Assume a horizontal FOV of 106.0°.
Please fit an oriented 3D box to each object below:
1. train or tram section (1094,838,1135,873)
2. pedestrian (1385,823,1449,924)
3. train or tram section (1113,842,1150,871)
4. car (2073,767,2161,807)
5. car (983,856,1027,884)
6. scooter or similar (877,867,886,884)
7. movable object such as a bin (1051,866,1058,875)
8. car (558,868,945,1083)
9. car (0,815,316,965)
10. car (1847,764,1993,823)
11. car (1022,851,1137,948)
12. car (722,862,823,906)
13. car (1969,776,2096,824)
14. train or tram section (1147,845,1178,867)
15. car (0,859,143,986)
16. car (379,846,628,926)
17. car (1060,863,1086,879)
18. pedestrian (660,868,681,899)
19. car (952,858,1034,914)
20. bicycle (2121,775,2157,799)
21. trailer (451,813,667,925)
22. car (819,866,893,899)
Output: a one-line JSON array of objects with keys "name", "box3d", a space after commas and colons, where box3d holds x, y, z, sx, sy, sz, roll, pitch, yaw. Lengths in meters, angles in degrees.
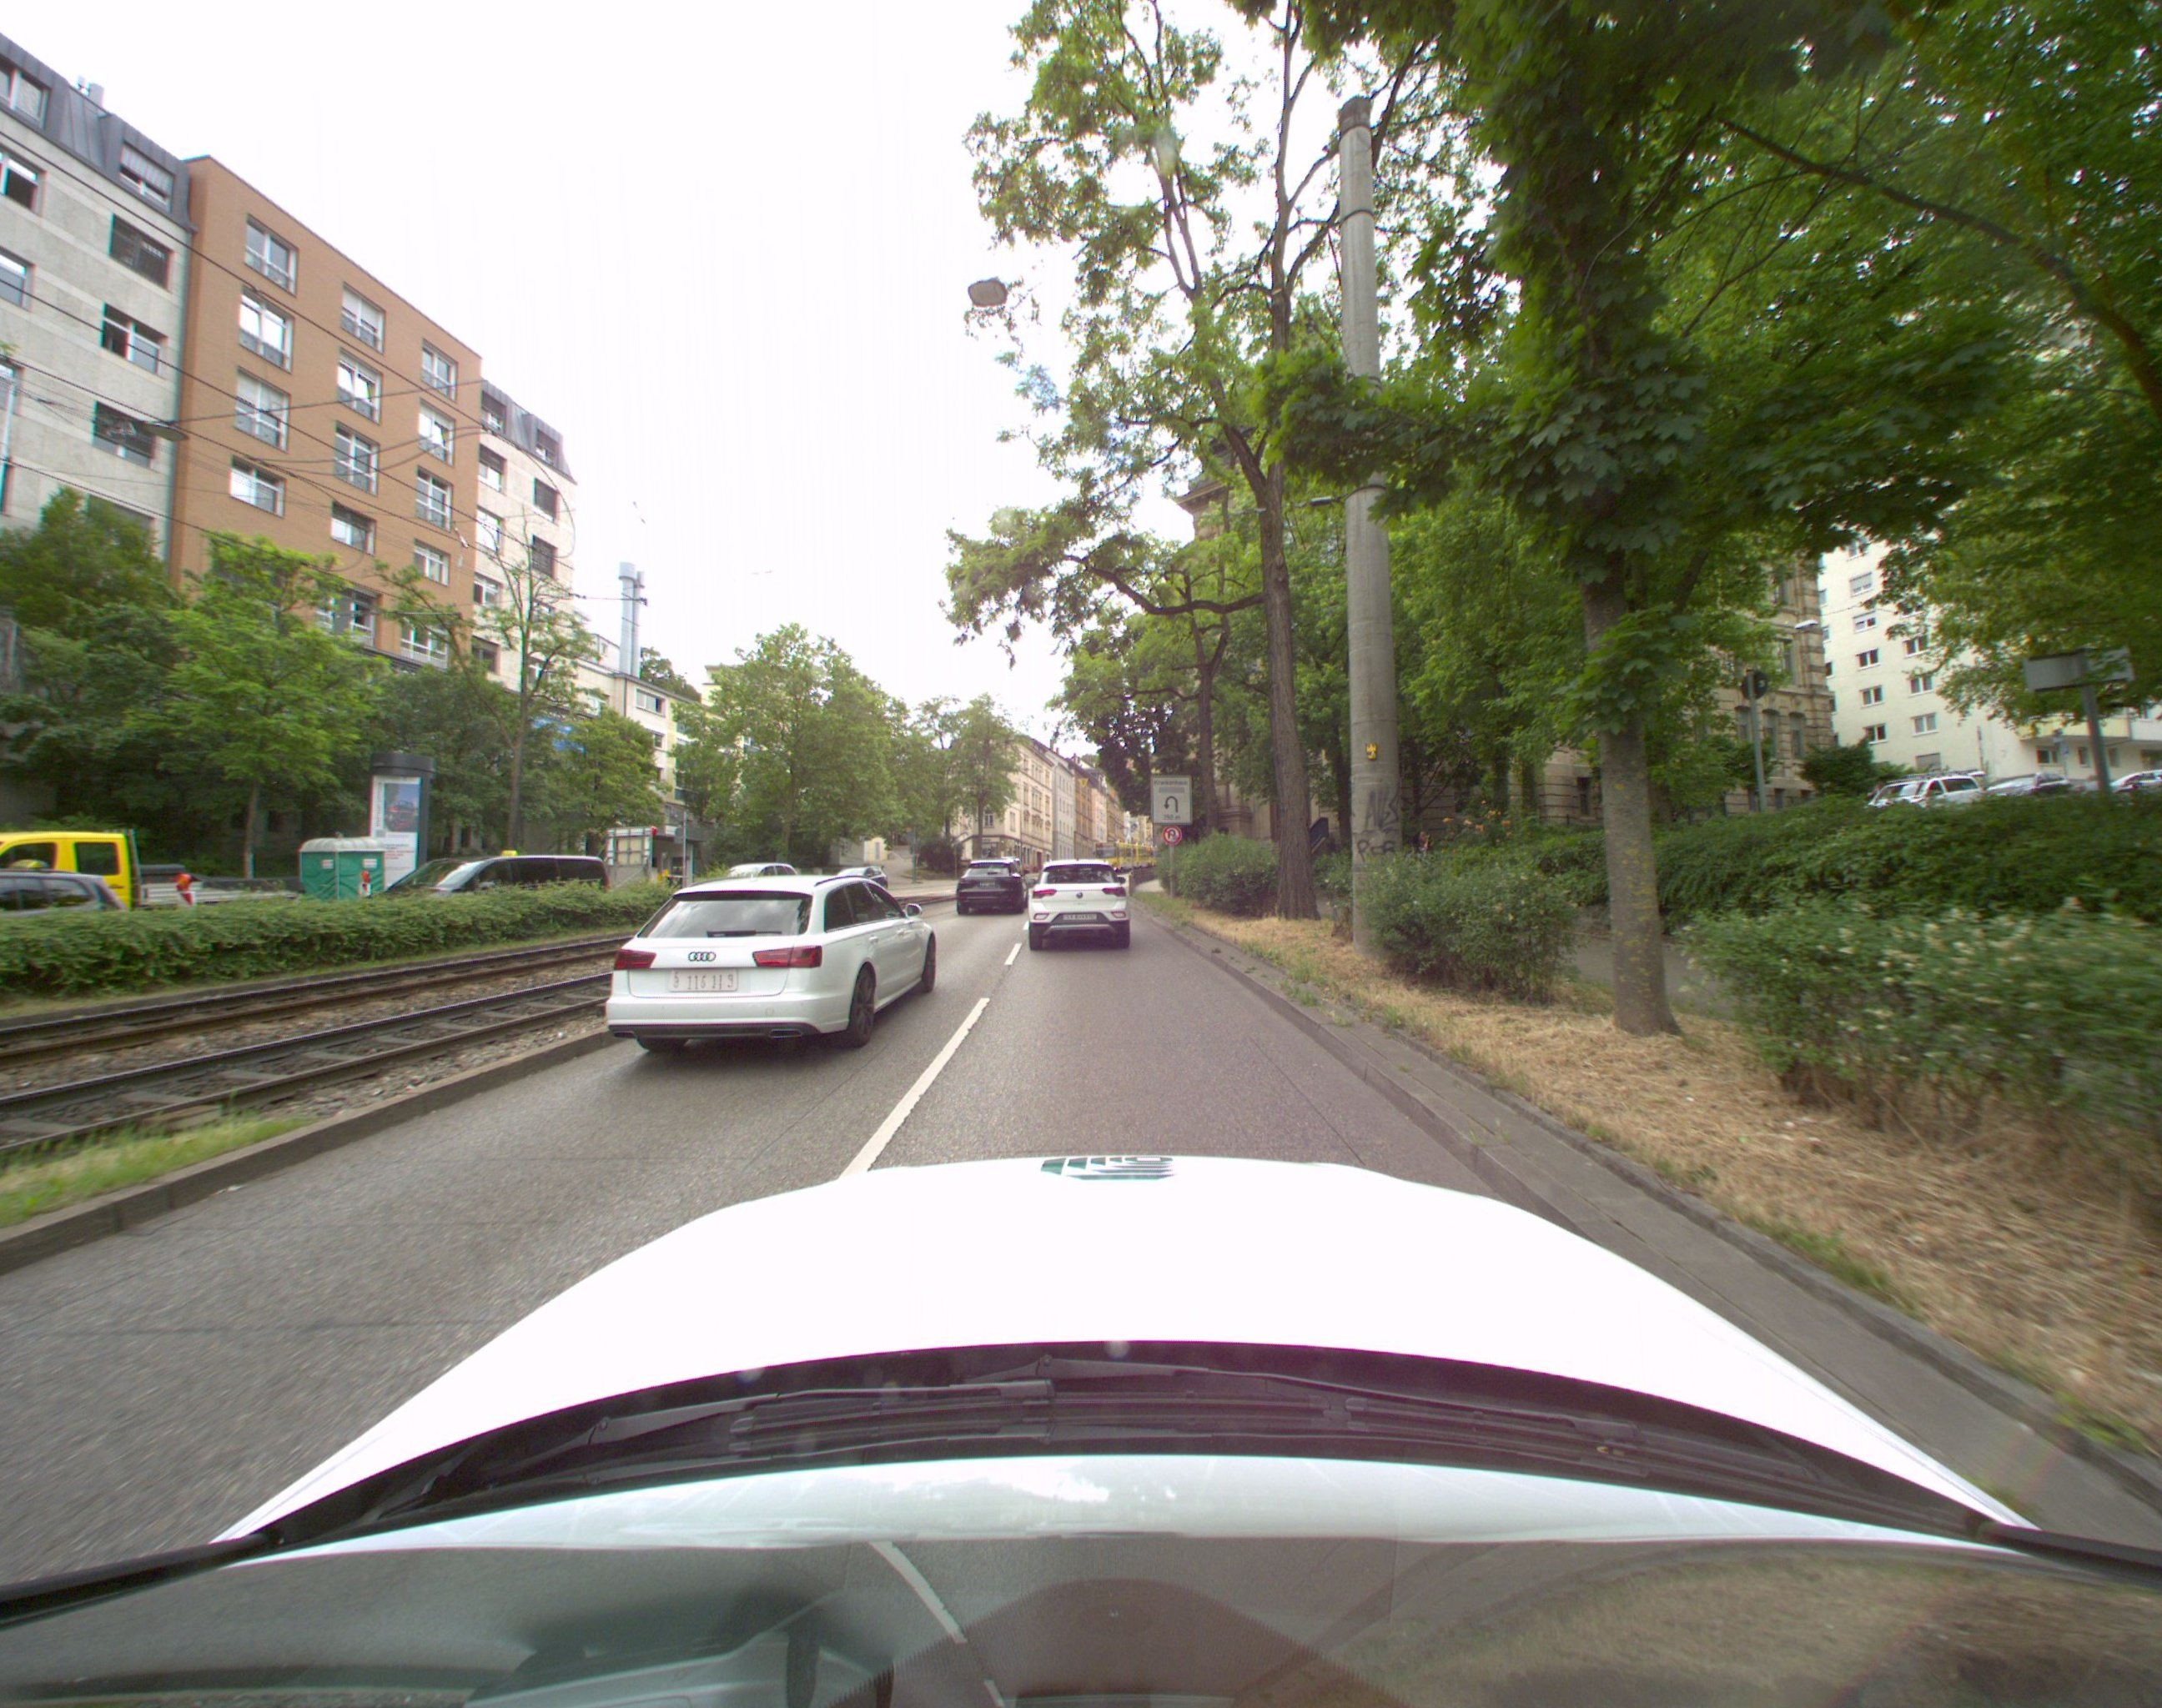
[{"name": "train or tram section", "box3d": [4.126, 0.206, 95.369, 2.865, 3.726, 14.895, 0, -1, 10]}, {"name": "pedestrian", "box3d": [5.851, 0.333, 14.218, 0.768, 1.703, 0.786, -2, -1, 2]}, {"name": "train or tram section", "box3d": [7.087, 0.419, 111.952, 2.858, 3.726, 18.755, 0, -1, 10]}, {"name": "car", "box3d": [54.141, -3.453, 41.022, 2.002, 1.734, 4.853, -2, -1, -22]}, {"name": "car", "box3d": [-5.667, 1.190, 61.184, 1.935, 1.946, 5.016, -1, 0, 10]}, {"name": "scooter or similar", "box3d": [-14.885, 1.624, 60.729, 0.489, 1.219, 1.636, 1, -2, -9]}, {"name": "movable object such as a bin", "box3d": [-3.450, 2.121, 105.293, 0.682, 1.074, 0.678, -1, -1, 10]}, {"name": "car", "box3d": [-2.732, 0.904, 8.096, 1.872, 1.455, 4.617, -1, -1, 1]}, {"name": "car", "box3d": [-19.521, 0.664, 16.128, 2.144, 2.594, 6.351, -2, -1, 9]}, {"name": "car", "box3d": [34.784, -2.500, 33.782, 5.219, 1.933, 2.163, -4, -3, -21]}, {"name": "car", "box3d": [-0.117, 0.784, 15.522, 1.874, 1.554, 3.996, -1, -1, -3]}, {"name": "car", "box3d": [-11.180, 1.066, 29.783, 1.648, 1.443, 3.751, -2, -1, 11]}, {"name": "car", "box3d": [41.148, -2.274, 35.223, 4.890, 1.754, 1.986, 0, -2, -21]}, {"name": "train or tram section", "box3d": [15.032, 0.439, 148.656, 2.856, 3.726, 18.825, 0, -1, 14]}, {"name": "car", "box3d": [-14.773, 0.888, 9.525, 1.983, 1.605, 4.628, -2, -1, 7]}, {"name": "car", "box3d": [-13.125, 0.673, 18.975, 1.981, 1.605, 4.623, -2, -1, 10]}, {"name": "car", "box3d": [-0.801, 1.778, 85.160, 1.982, 1.552, 4.010, -2, -1, 9]}, {"name": "pedestrian", "box3d": [-25.350, 1.810, 50.290, 0.807, 1.911, 0.796, -2, -1, 11]}, {"name": "car", "box3d": [-2.652, 0.939, 25.589, 2.031, 1.571, 4.357, -1, -1, 0]}, {"name": "bicycle", "box3d": [51.524, -3.256, 39.662, 2.068, 1.045, 0.604, 0, -1, -24]}, {"name": "trailer", "box3d": [-15.337, 0.422, 24.459, 2.005, 2.973, 5.608, 0, -1, 13]}, {"name": "car", "box3d": [-10.395, 1.287, 37.951, 1.756, 1.408, 4.092, -2, -1, 8]}]
